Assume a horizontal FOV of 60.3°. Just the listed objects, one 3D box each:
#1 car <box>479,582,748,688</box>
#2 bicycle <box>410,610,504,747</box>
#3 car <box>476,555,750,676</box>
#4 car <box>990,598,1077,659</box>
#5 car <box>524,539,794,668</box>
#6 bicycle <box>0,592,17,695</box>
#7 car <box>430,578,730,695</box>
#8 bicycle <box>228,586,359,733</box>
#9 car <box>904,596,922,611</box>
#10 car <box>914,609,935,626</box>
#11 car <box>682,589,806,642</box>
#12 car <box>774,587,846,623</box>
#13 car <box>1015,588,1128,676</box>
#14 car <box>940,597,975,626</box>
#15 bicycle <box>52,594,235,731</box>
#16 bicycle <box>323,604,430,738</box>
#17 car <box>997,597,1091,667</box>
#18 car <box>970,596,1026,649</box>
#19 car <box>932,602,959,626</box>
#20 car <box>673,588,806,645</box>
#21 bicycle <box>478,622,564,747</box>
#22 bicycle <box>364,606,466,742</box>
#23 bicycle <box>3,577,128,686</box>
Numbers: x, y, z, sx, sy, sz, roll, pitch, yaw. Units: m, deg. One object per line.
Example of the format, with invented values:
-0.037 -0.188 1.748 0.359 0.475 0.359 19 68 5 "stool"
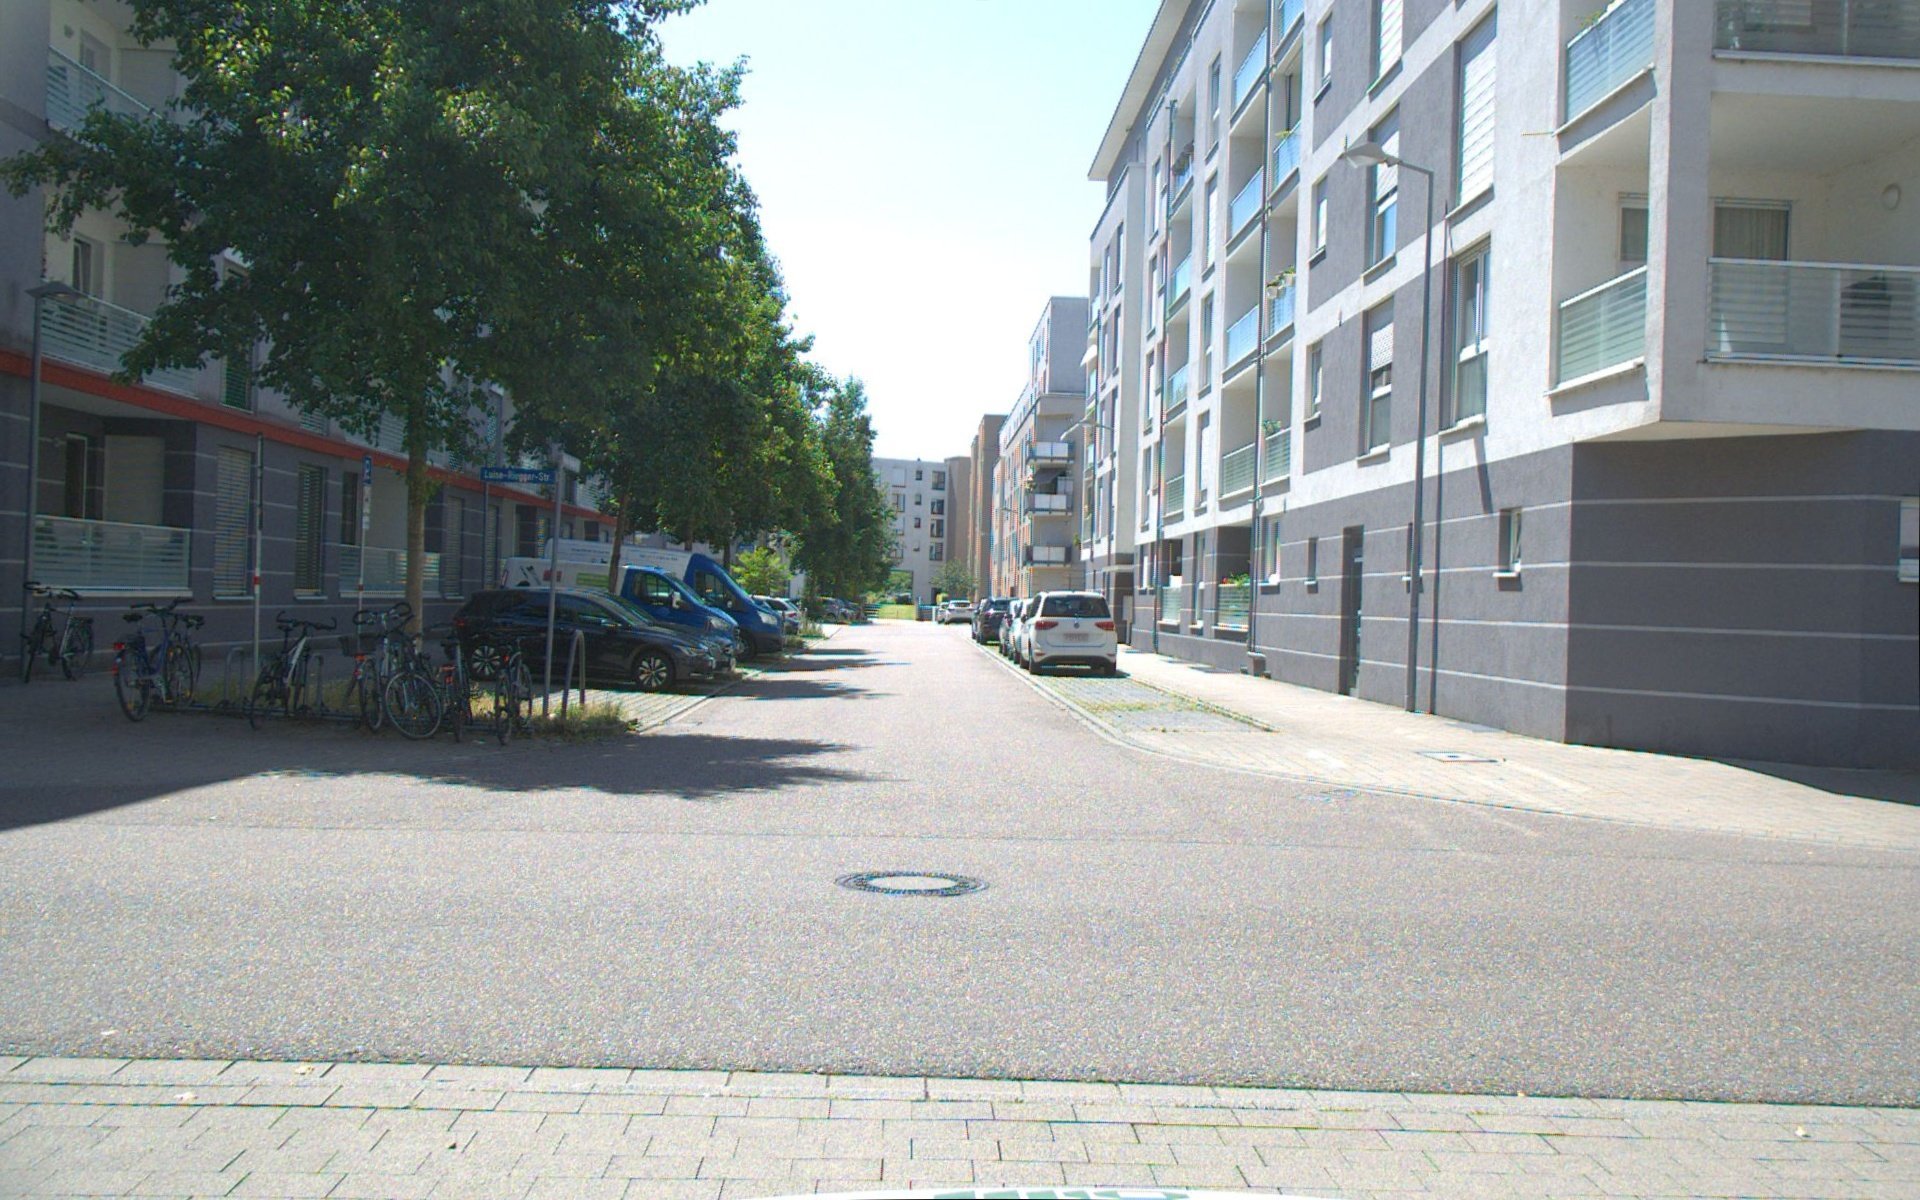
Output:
-6.026 0.602 29.180 4.295 1.569 1.877 3 0 -2 "car"
-5.000 0.751 16.539 0.560 1.194 1.765 4 1 -9 "bicycle"
-6.982 0.298 33.783 5.042 2.156 2.311 3 0 -2 "car"
1.937 0.735 44.637 1.954 1.551 3.998 1 0 -3 "car"
-7.020 0.090 39.215 5.902 2.865 2.604 1 0 -2 "car"
-10.740 0.475 17.596 0.596 1.127 2.099 2 0 -12 "bicycle"
-6.016 0.572 26.628 4.295 1.541 2.074 4 0 -2 "car"
-6.628 0.554 16.534 0.581 1.354 1.812 1 1 -1 "bicycle"
-5.273 0.386 185.970 1.954 1.545 3.998 2 0 -3 "car"
-3.548 1.741 165.146 1.953 1.545 4.000 2 0 0 "car"
-7.343 0.519 56.409 3.905 1.646 2.000 2 0 0 "car"
-8.873 0.294 98.005 3.903 2.049 2.001 2 0 5 "car"
2.230 0.620 34.115 1.957 1.686 4.114 1 0 -1 "car"
-0.164 0.692 102.712 1.954 1.704 3.998 2 0 -3 "car"
-7.998 0.571 16.318 0.675 1.190 2.222 4 1 -1 "bicycle"
-5.886 0.684 16.767 0.508 1.225 1.751 3 1 -4 "bicycle"
1.973 0.733 39.809 1.953 1.551 3.999 1 0 -1 "car"
1.256 0.711 54.196 1.721 1.579 4.001 2 0 1 "car"
-1.167 1.099 129.910 1.954 1.747 3.998 2 0 -3 "car"
-6.991 0.513 52.684 3.905 1.691 2.000 2 0 0 "car"
-4.429 0.822 16.778 0.456 1.161 1.925 1 0 -4 "bicycle"
-5.423 0.708 16.531 0.425 1.225 1.699 3 1 -1 "bicycle"
-10.897 0.366 20.218 0.540 1.262 1.924 1 0 -3 "bicycle"
